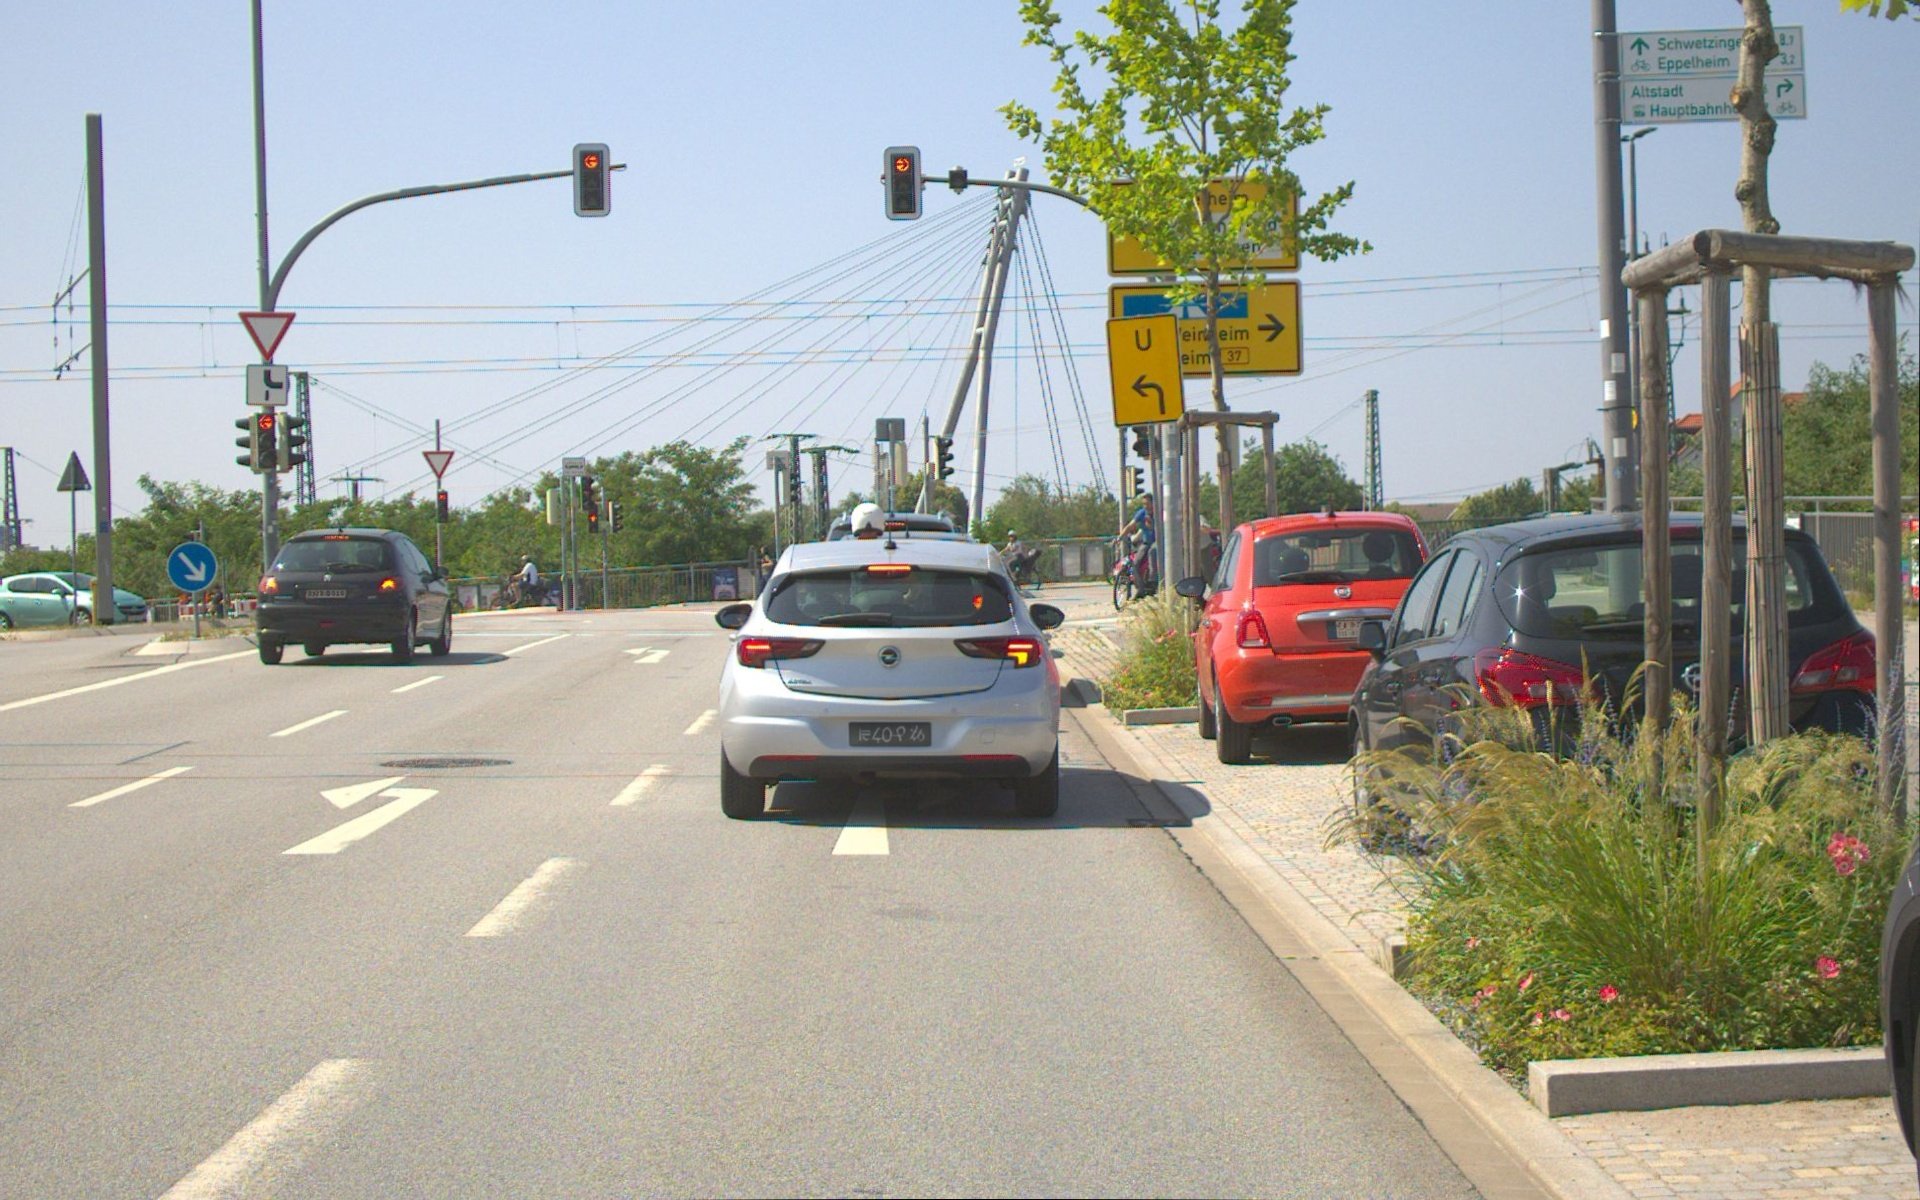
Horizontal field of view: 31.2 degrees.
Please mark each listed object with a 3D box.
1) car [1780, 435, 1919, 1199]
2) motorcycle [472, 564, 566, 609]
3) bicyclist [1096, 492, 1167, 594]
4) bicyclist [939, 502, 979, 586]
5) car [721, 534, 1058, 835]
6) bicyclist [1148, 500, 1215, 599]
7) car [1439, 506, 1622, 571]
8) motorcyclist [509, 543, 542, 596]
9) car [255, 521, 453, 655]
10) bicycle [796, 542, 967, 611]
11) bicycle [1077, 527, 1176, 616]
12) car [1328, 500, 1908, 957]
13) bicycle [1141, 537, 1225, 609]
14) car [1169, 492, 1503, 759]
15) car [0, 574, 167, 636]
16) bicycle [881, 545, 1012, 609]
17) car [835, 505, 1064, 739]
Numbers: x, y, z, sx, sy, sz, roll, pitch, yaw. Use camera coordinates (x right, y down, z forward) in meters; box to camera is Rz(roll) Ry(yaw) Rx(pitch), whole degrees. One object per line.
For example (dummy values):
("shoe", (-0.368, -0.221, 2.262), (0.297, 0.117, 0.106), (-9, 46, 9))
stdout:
("car", (2.643, 0.517, 4.937), (1.803, 1.677, 4.271), (-3, 1, -1))
("motorcycle", (-12.316, -0.376, 95.981), (2.536, 1.229, 0.648), (1, 0, -1))
("bicyclist", (2.642, -0.876, 52.911), (0.861, 1.554, 0.824), (1, 0, 22))
("bicyclist", (-0.015, -0.994, 61.474), (0.718, 1.499, 0.824), (0, 0, 0))
("car", (-0.376, 0.383, 19.436), (1.690, 1.514, 4.271), (0, 1, -1))
("bicyclist", (3.564, -0.809, 55.281), (0.821, 1.563, 0.947), (1, 0, 21))
("car", (14.862, -1.588, 89.631), (4.244, 1.668, 2.001), (0, 1, -17))
("motorcyclist", (-12.128, -0.855, 95.970), (0.809, 1.471, 0.885), (1, 0, 0))
("car", (-6.572, -0.141, 37.548), (1.587, 1.390, 3.340), (-1, 0, -1))
("bicycle", (-1.156, -0.346, 50.870), (2.504, 1.003, 0.605), (0, 1, 1))
("bicycle", (2.566, -0.450, 52.664), (0.727, 1.130, 2.530), (-4, 3, 19))
("car", (2.550, 0.413, 14.093), (1.581, 1.550, 3.547), (-3, 2, -1))
("bicycle", (3.605, -0.433, 55.371), (0.676, 1.123, 2.363), (1, 0, 21))
("car", (2.377, 0.135, 22.594), (1.669, 1.534, 3.917), (-2, 1, -1))
("car", (-20.390, 0.110, 79.680), (3.795, 1.357, 1.530), (-1, 2, 27))
("bicycle", (-0.238, -0.414, 61.471), (2.319, 1.129, 0.637), (0, 1, 1))
("car", (-0.097, 0.141, 26.805), (1.634, 1.668, 3.745), (1, 0, -1))
